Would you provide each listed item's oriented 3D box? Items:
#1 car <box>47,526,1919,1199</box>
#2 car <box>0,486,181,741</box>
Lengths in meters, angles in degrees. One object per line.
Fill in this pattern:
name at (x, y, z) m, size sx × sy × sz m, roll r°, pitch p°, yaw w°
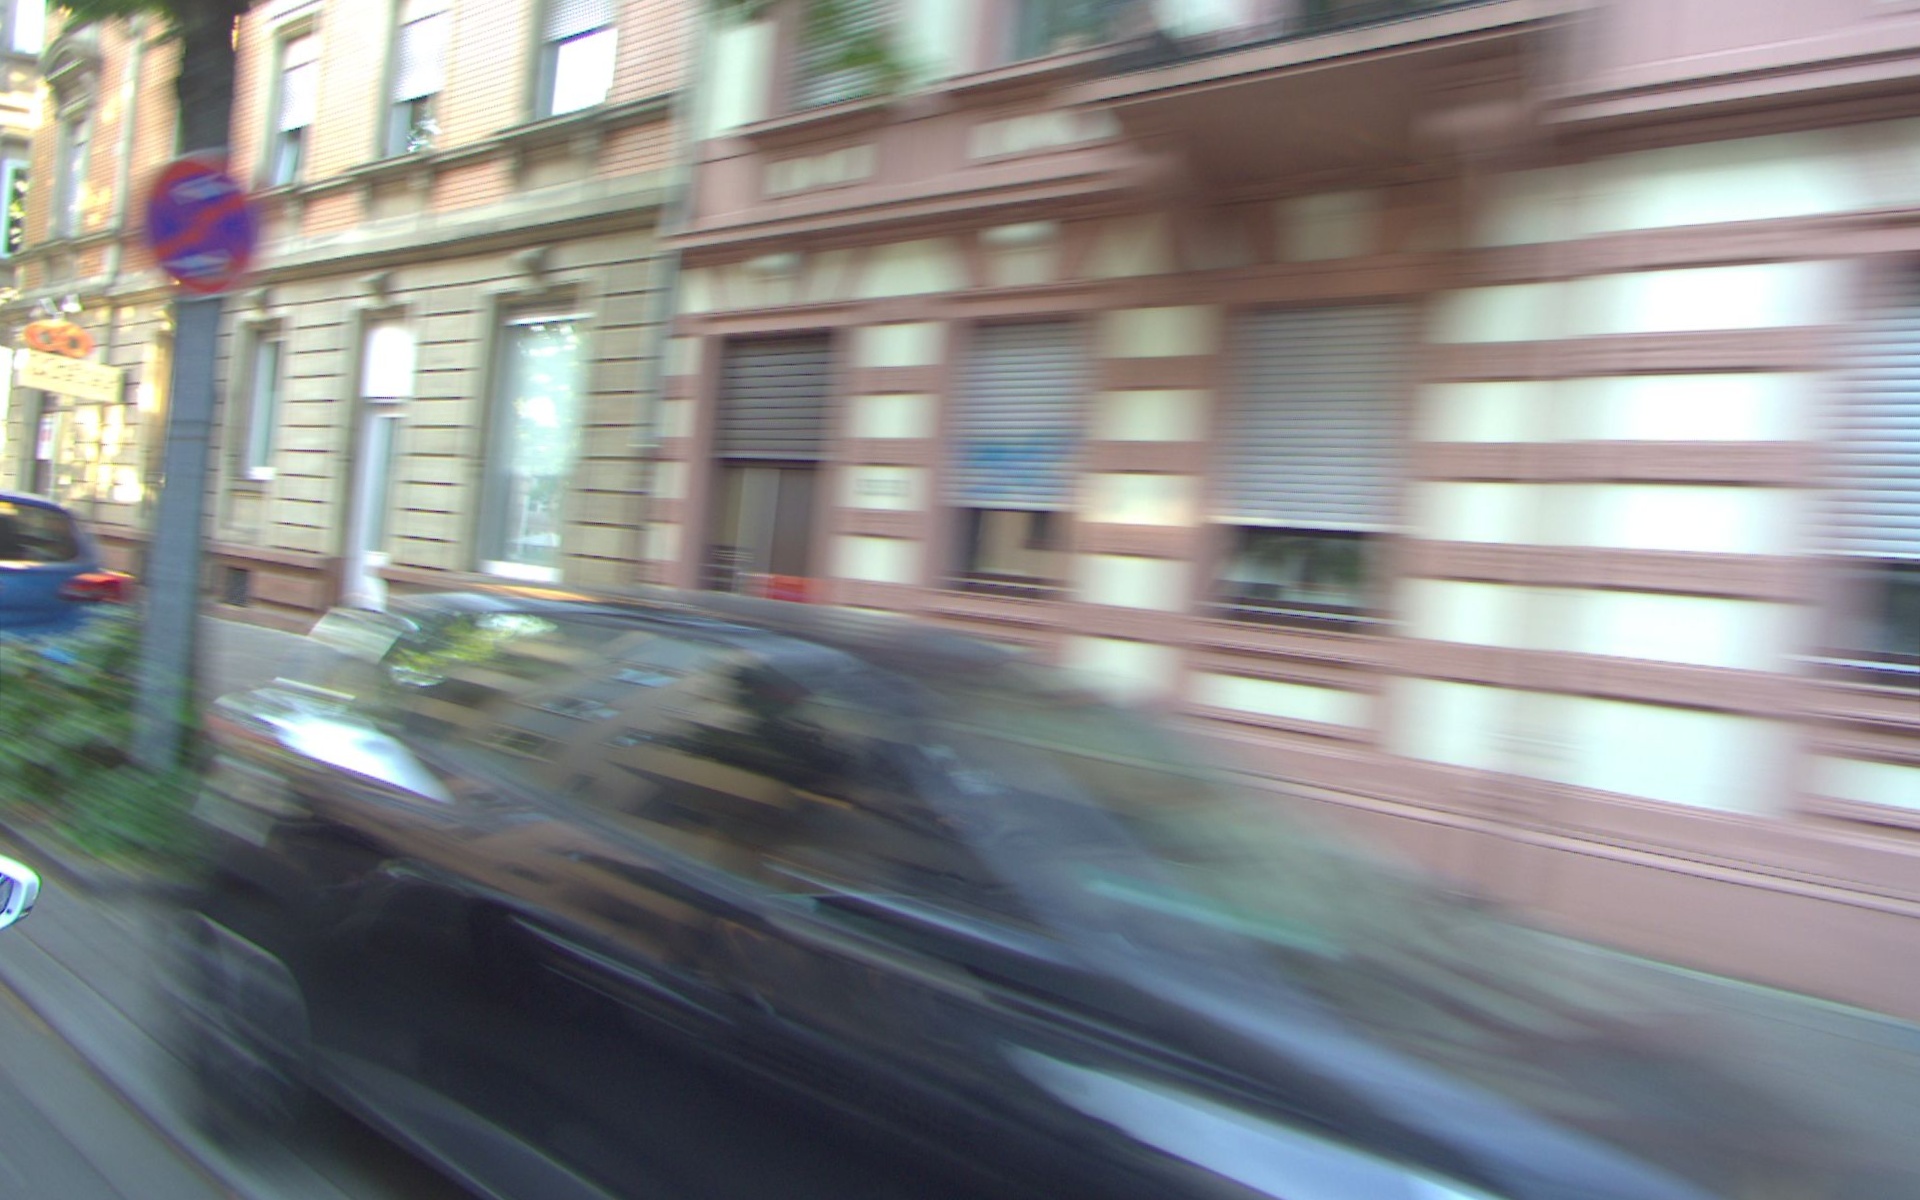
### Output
car at (-0.300, 0.751, 2.476) m, size 3.748 × 1.421 × 1.718 m, roll 6°, pitch 0°, yaw 29°
car at (-7.188, -0.091, 6.845) m, size 3.714 × 1.489 × 1.752 m, roll 6°, pitch -1°, yaw 33°
